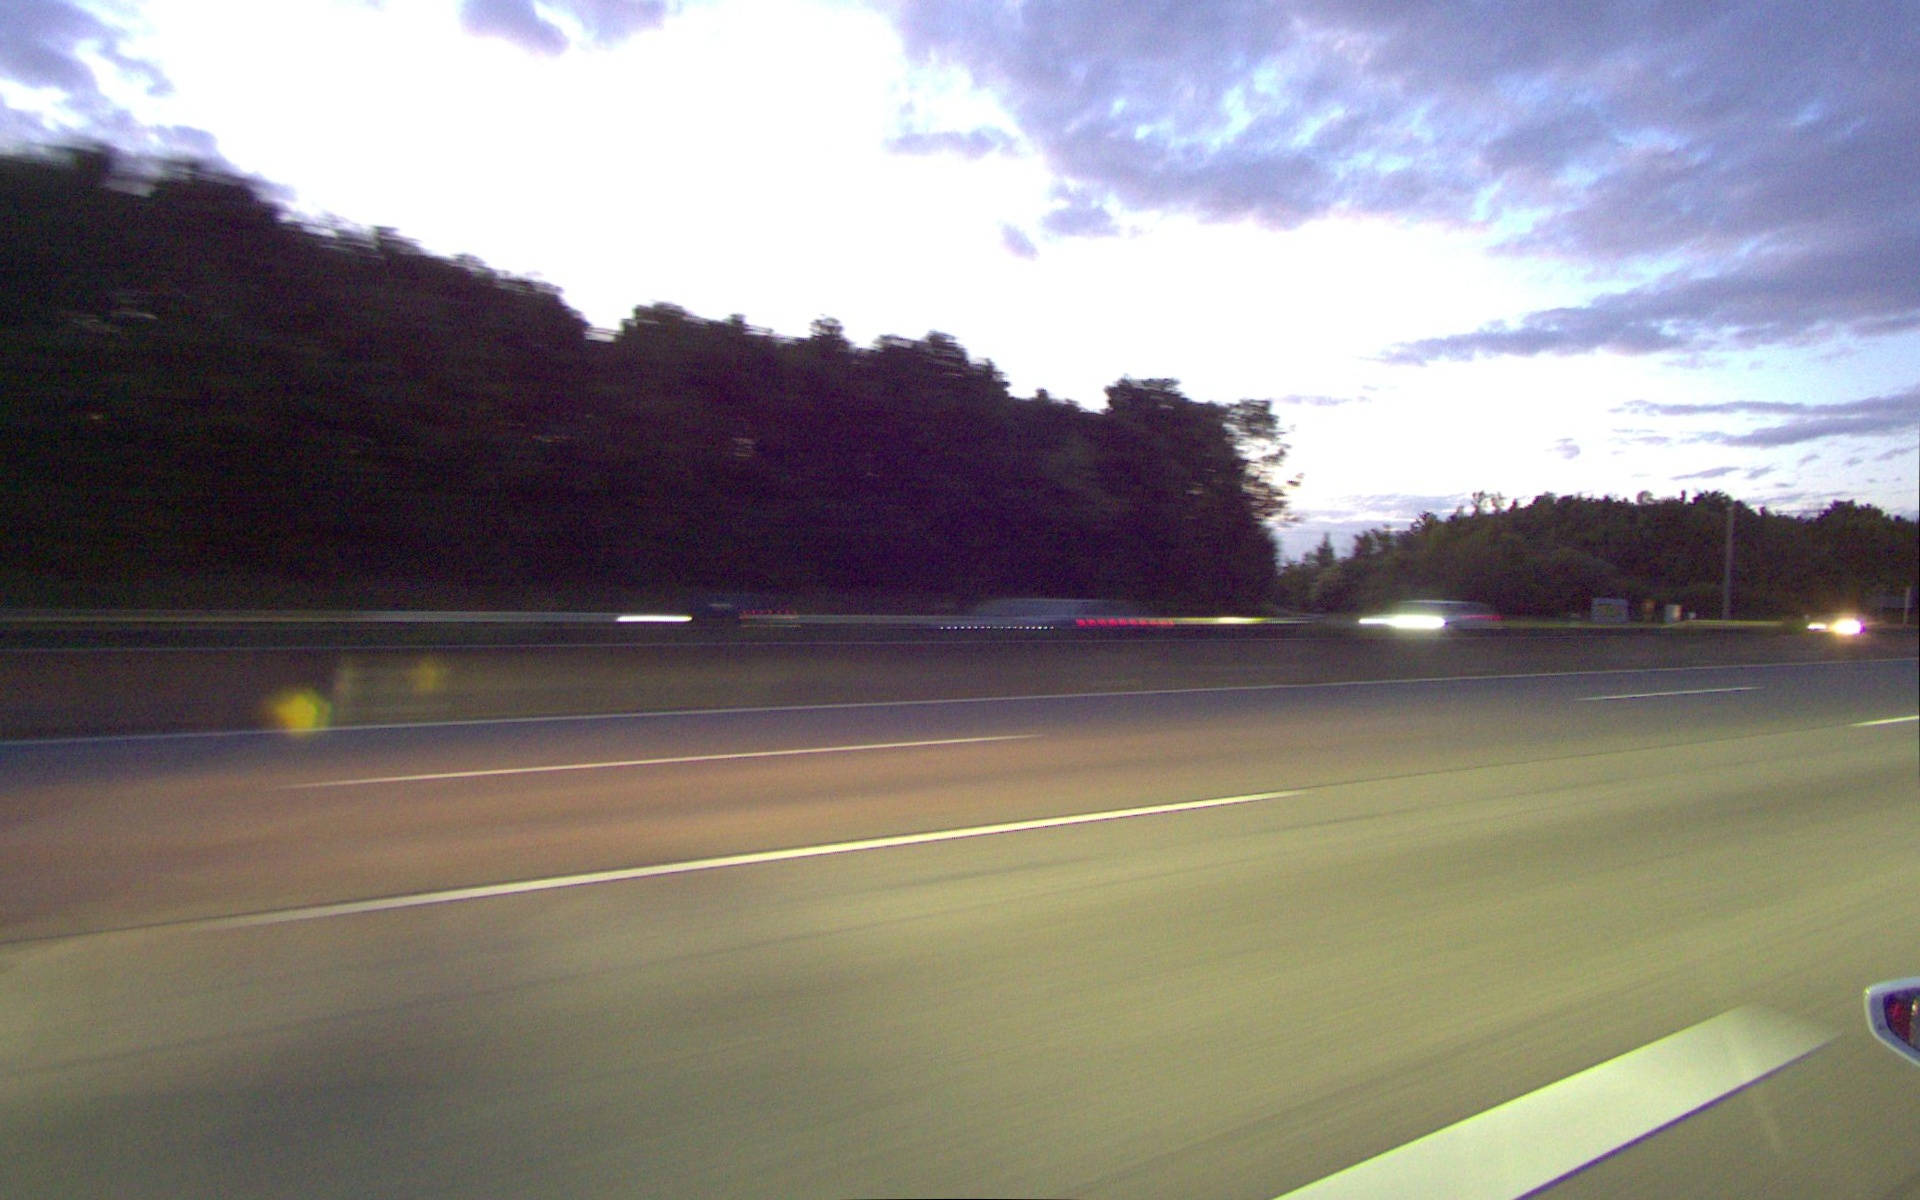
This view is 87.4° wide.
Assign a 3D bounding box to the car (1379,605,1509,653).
[{"bbox_3d":[18.238,1.080,37.804,4.952,1.687,1.984,1,0,-31],"label":"car"}]

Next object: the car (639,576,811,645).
[{"bbox_3d":[-7.415,0.354,31.847,4.952,2.040,1.984,1,0,-31],"label":"car"}]

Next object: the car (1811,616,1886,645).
[{"bbox_3d":[52.223,1.791,58.997,4.505,1.631,1.984,1,0,-30],"label":"car"}]

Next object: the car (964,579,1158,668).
[{"bbox_3d":[2.511,0.566,24.819,4.434,2.040,1.985,1,0,-29],"label":"car"}]
